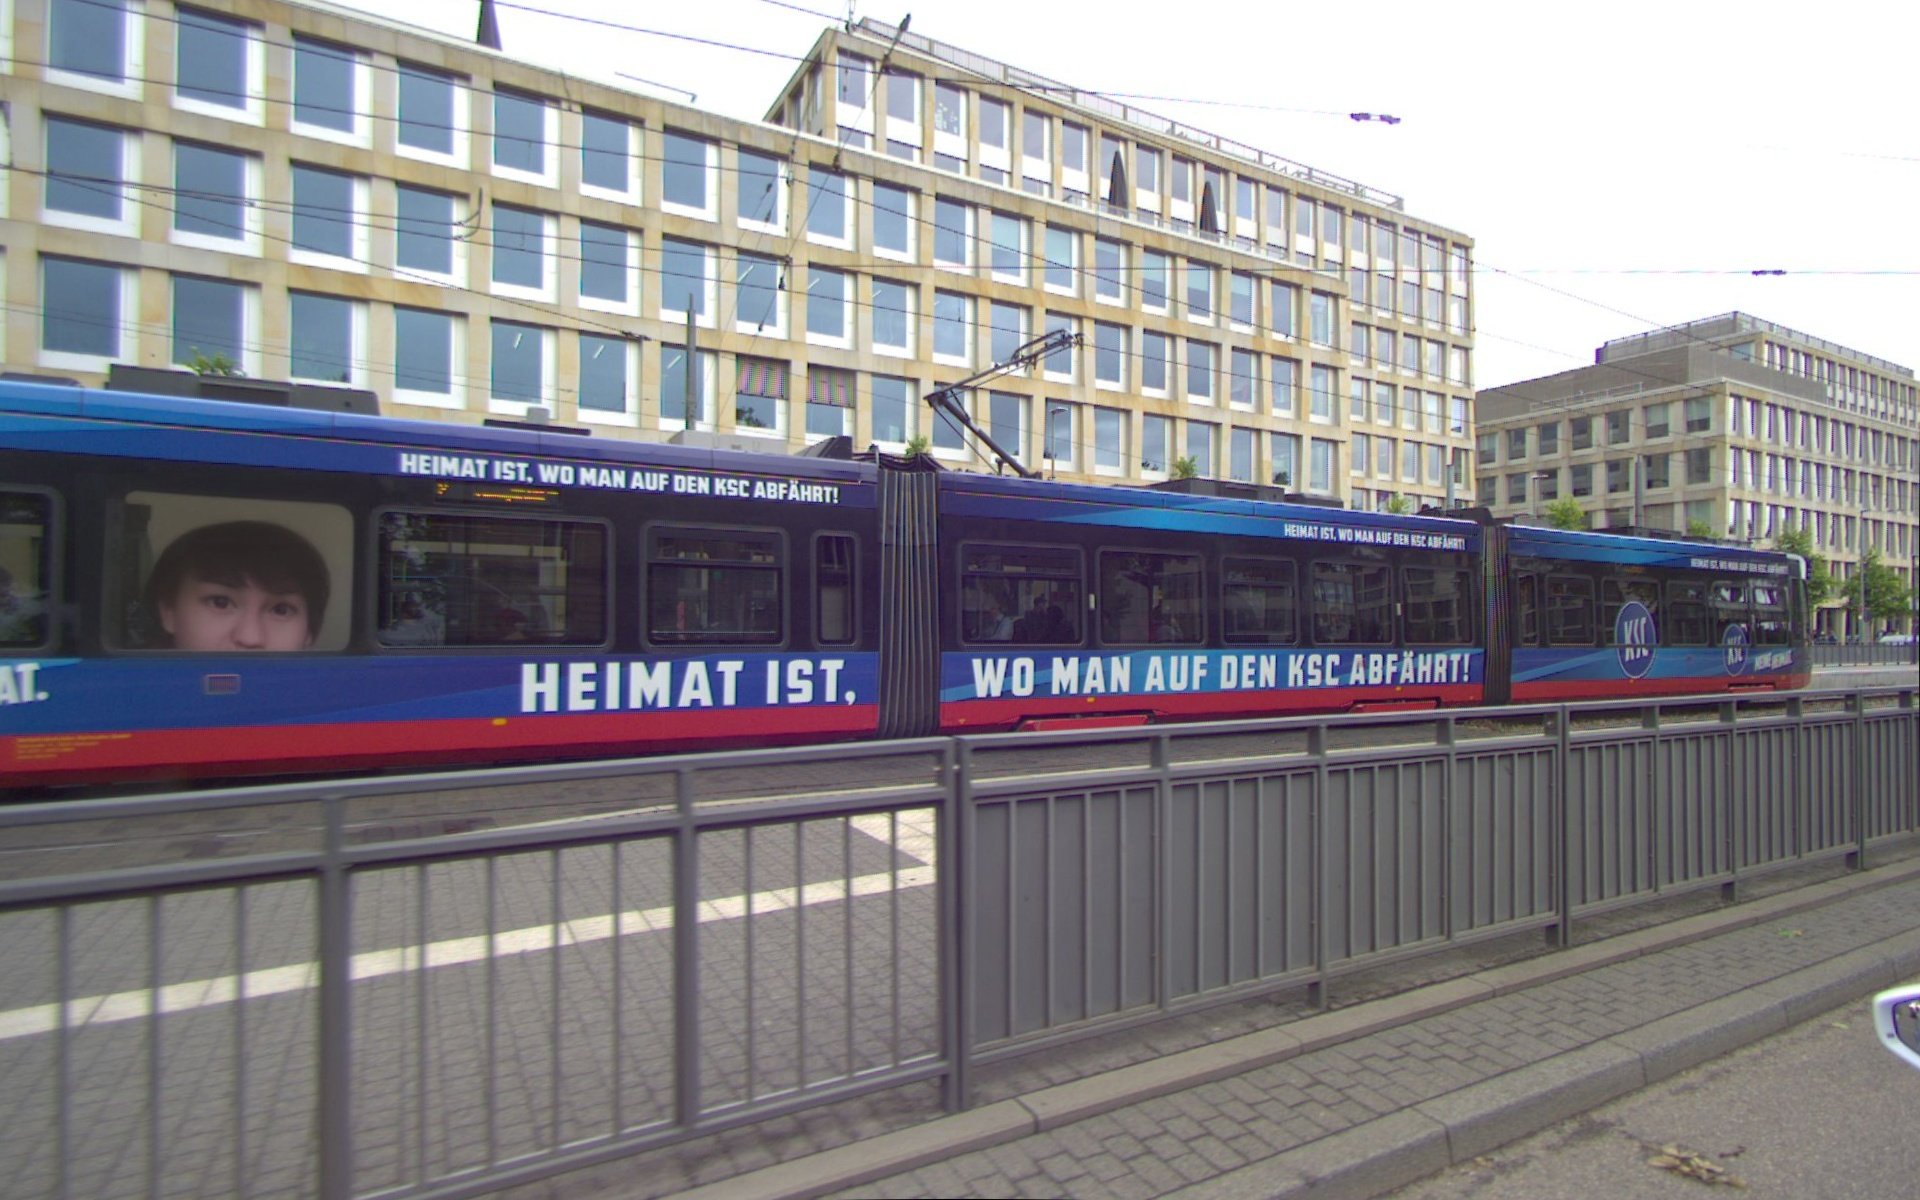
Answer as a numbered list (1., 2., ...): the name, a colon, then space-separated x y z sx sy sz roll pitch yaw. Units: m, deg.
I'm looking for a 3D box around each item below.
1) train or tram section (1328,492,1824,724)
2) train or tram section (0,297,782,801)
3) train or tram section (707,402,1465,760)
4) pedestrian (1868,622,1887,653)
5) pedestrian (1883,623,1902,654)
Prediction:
1. train or tram section: 13.285 0.360 20.799 13.363 3.740 2.841 2 -2 -31
2. train or tram section: -7.576 -0.338 8.660 11.628 3.688 2.841 2 -2 -31
3. train or tram section: 2.481 0.008 14.515 11.563 3.688 2.841 2 -2 -31
4. pedestrian: 60.317 2.485 66.048 0.716 2.040 0.710 2 -2 -29
5. pedestrian: 61.429 2.552 66.159 0.716 2.040 0.709 2 -2 -30
